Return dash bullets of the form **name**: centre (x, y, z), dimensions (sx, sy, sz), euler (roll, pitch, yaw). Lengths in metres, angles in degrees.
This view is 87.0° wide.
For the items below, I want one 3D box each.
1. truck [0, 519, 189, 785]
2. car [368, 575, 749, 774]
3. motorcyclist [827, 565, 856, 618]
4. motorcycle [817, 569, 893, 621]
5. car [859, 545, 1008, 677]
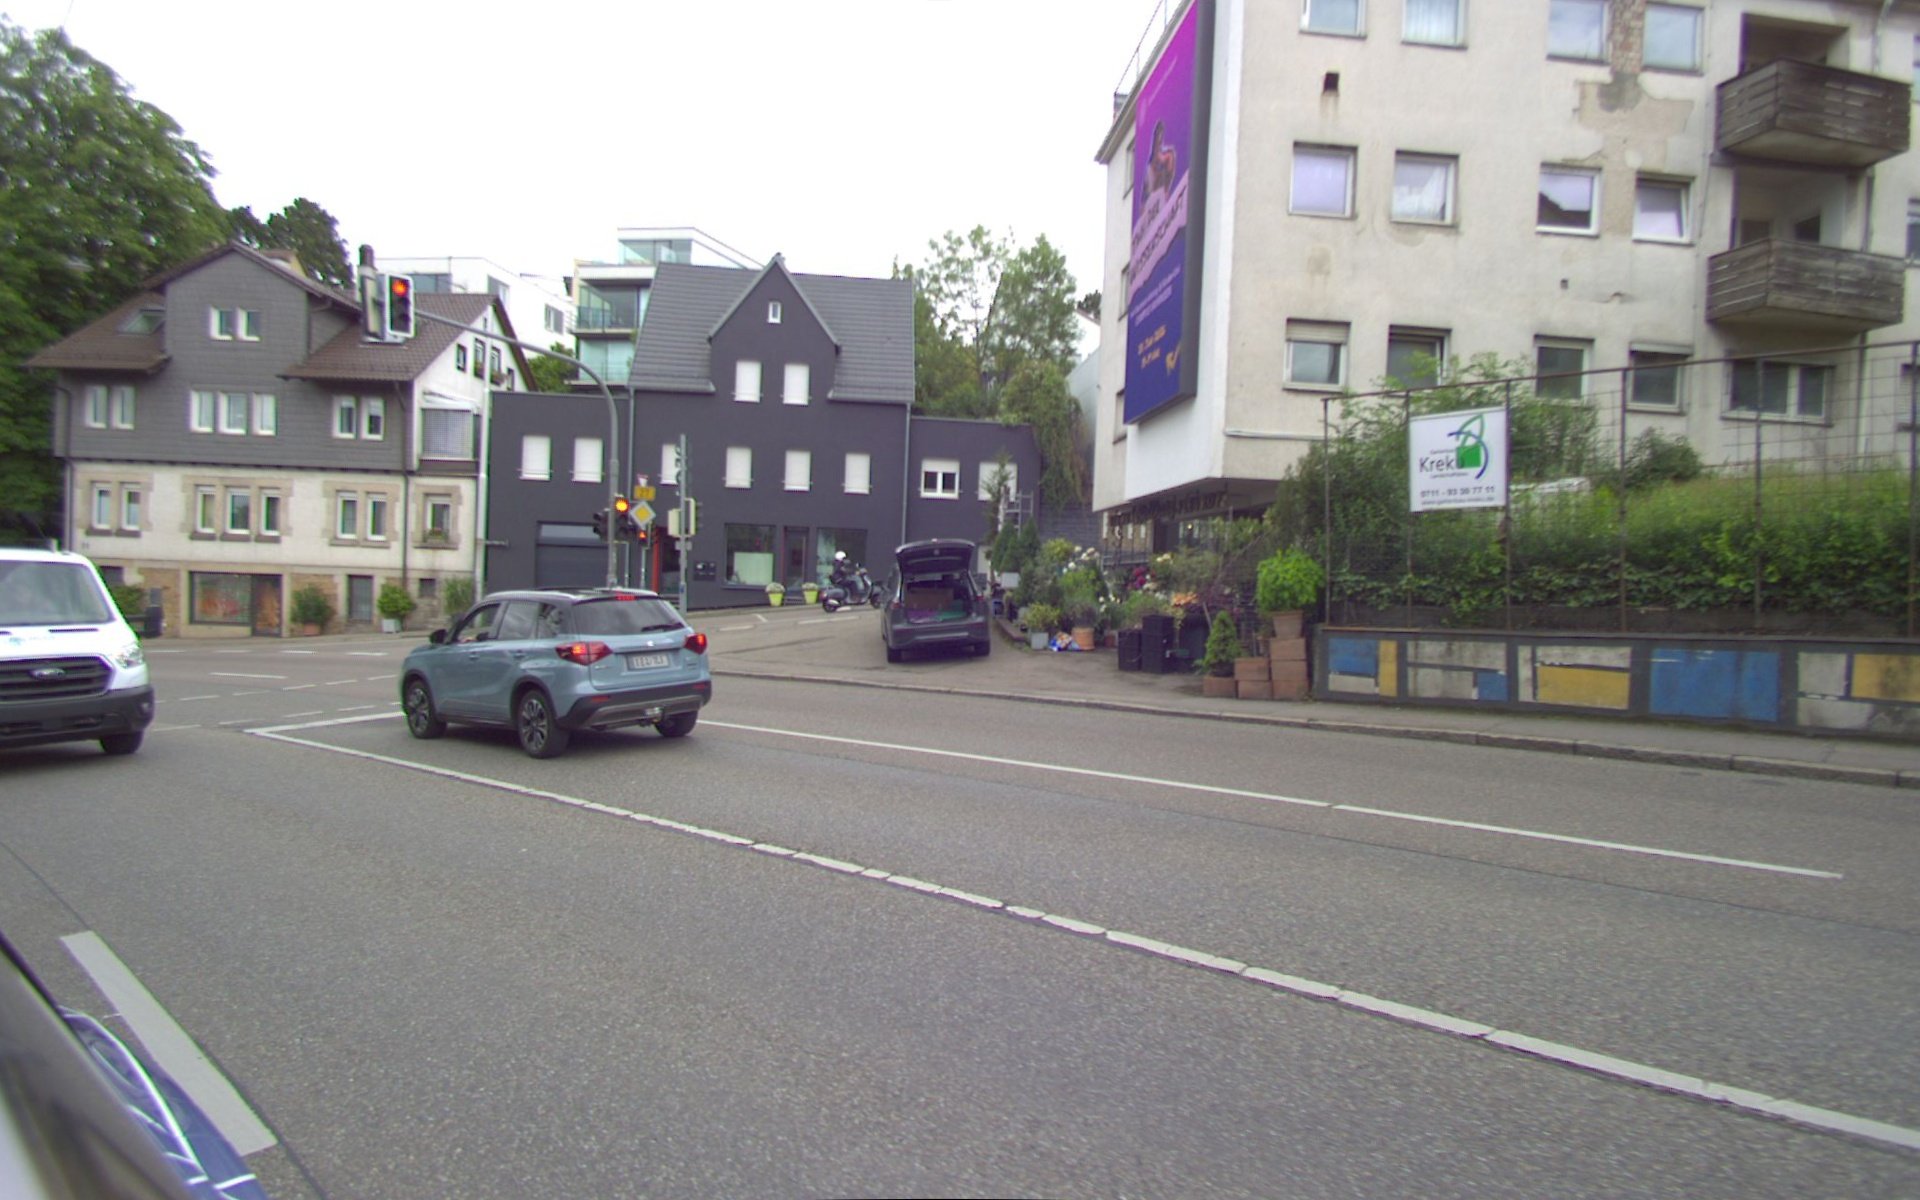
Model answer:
- **truck**: centre (-11.004, 0.492, 10.765), dimensions (6.304, 2.338, 2.062), euler (-1, 1, 29)
- **car**: centre (-4.441, 0.663, 10.902), dimensions (4.342, 1.708, 1.878), euler (-1, 1, 39)
- **motorcyclist**: centre (-3.297, -0.245, 28.152), dimensions (0.712, 1.429, 0.685), euler (-1, 1, -2)
- **motorcycle**: centre (-2.921, -0.154, 28.229), dimensions (2.016, 1.308, 0.831), euler (-3, 3, -3)
- **car**: centre (-0.643, 0.052, 18.654), dimensions (2.283, 1.724, 4.712), euler (-5, 6, -5)
